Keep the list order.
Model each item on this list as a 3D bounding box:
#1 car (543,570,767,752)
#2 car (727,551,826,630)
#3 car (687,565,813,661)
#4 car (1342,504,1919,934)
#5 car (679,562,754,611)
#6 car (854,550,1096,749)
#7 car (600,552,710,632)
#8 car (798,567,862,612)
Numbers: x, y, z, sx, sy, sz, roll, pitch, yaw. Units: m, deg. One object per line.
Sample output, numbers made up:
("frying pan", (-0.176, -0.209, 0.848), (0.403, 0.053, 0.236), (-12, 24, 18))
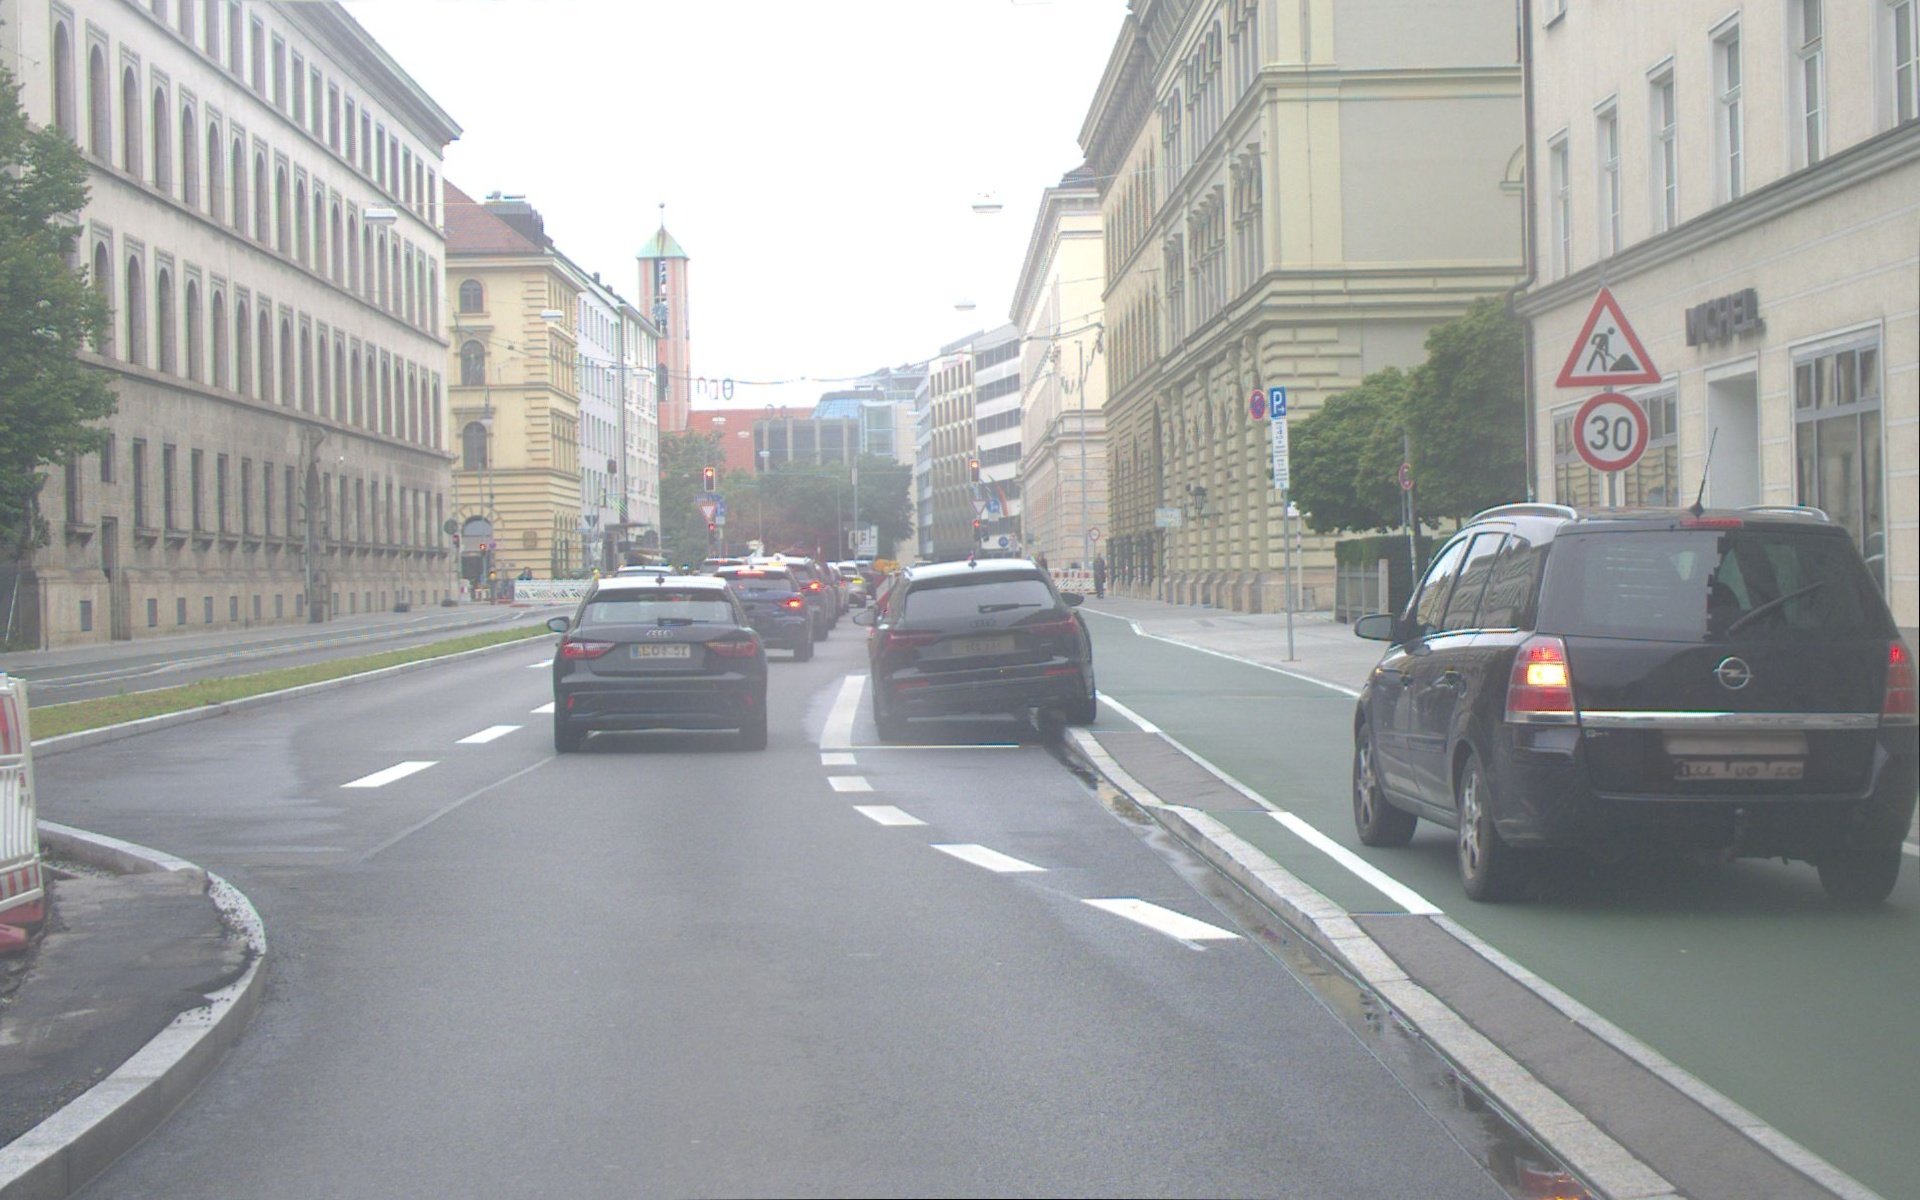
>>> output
("car", (-2.493, 0.461, 28.831), (1.730, 1.398, 4.001), (0, 1, -3))
("car", (-3.504, -0.205, 66.191), (1.730, 1.456, 4.000), (0, 1, -1))
("car", (-3.185, 0.167, 52.740), (1.730, 1.398, 4.000), (0, 1, -1))
("car", (2.811, 0.418, 14.913), (1.764, 1.610, 4.030), (0, 1, -1))
("car", (-7.334, -0.425, 104.013), (1.993, 1.439, 4.000), (-1, 1, 0))
("car", (0.060, 0.372, 30.330), (1.808, 1.475, 4.463), (-5, 1, -2))
("car", (-6.470, -0.197, 73.371), (1.993, 1.622, 4.000), (-1, 1, 0))
("car", (-4.301, -0.368, 114.207), (1.993, 1.439, 4.000), (-1, 1, 0))
